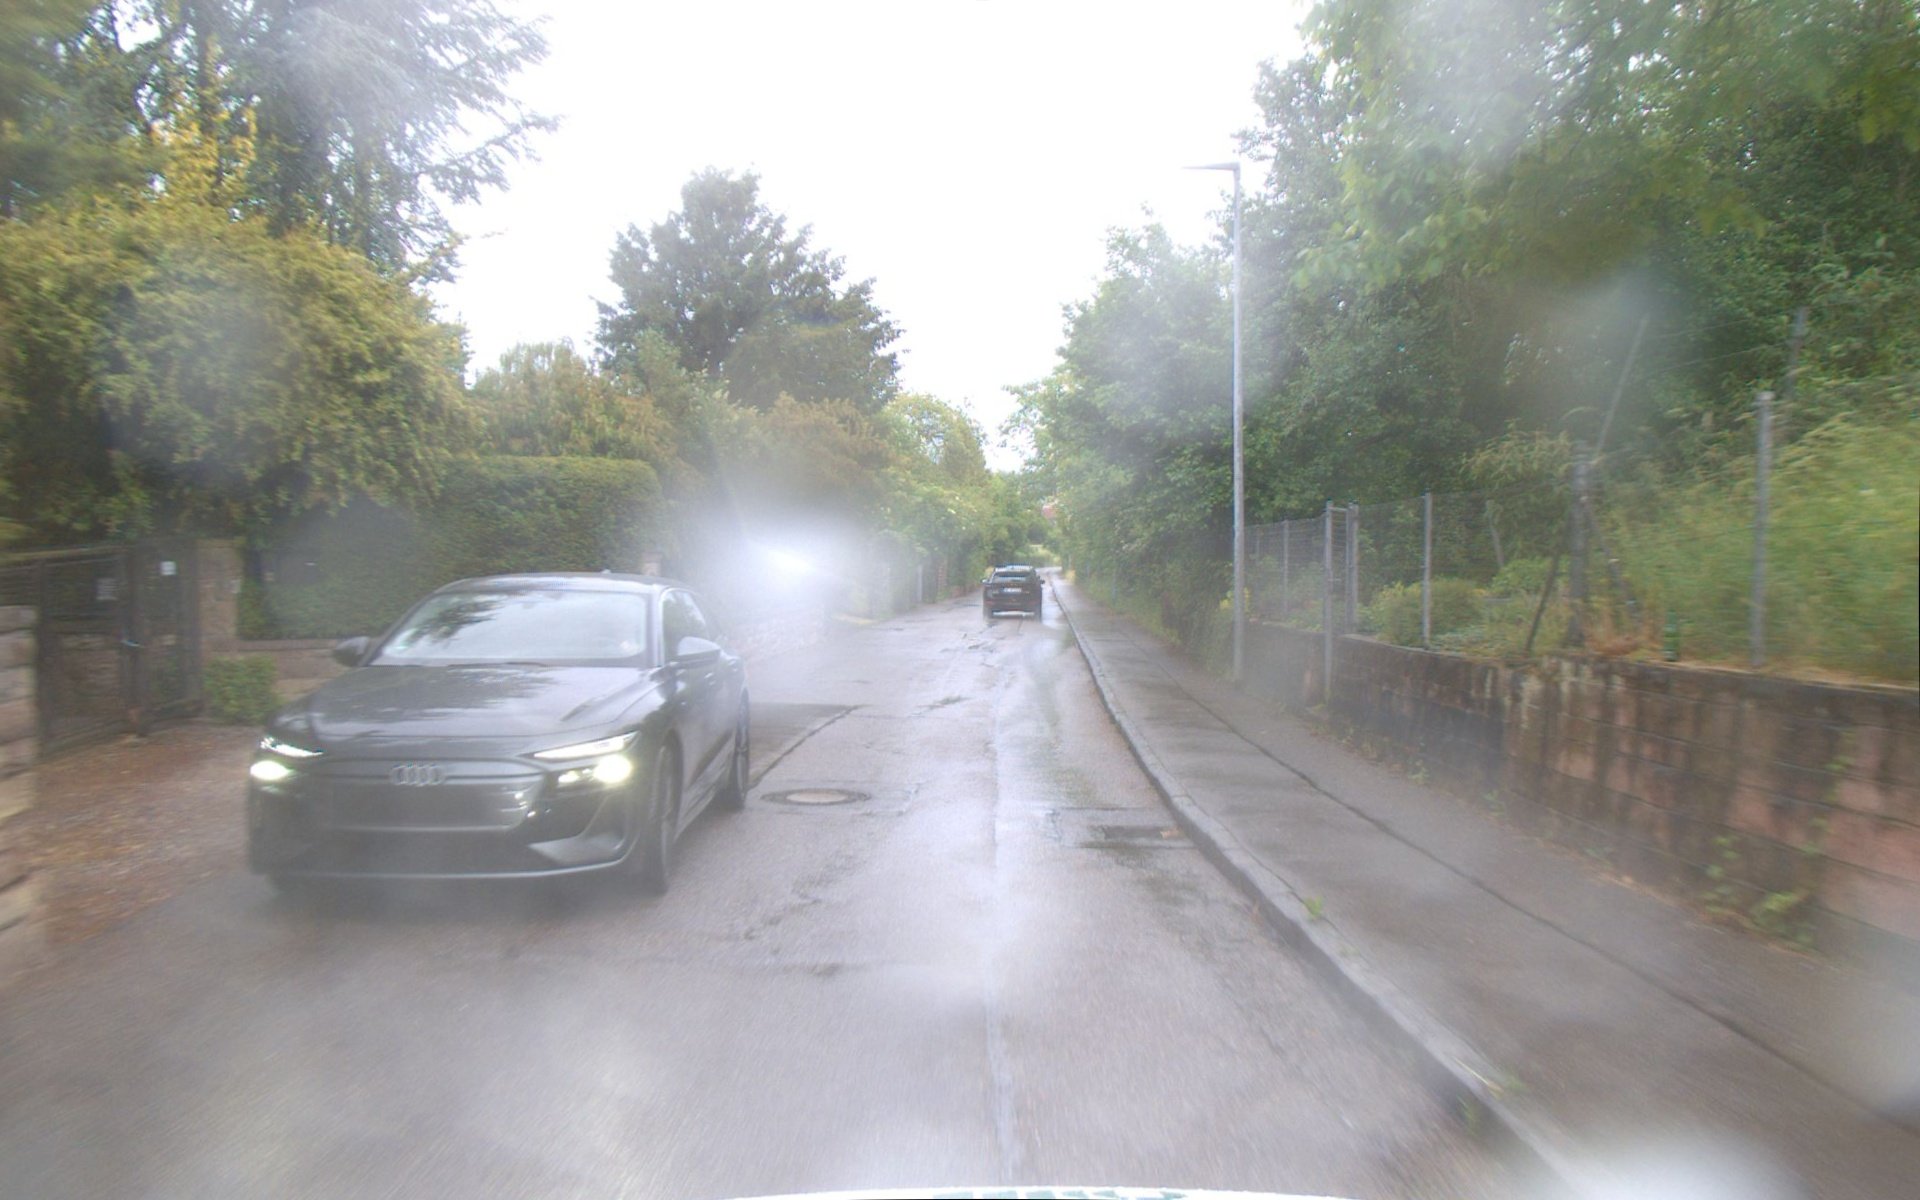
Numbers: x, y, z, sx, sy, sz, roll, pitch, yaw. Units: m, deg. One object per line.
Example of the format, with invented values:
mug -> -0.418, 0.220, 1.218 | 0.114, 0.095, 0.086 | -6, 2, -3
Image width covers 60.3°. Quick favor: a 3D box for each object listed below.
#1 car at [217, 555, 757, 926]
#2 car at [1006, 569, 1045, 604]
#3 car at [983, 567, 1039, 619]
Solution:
car -> -2.256, 0.582, 9.176 | 1.851, 1.550, 4.420 | 1, 0, -2
car -> 2.822, -0.571, 70.766 | 1.600, 1.439, 3.546 | 1, 0, 4
car -> 1.555, -0.205, 49.482 | 1.600, 1.475, 3.546 | 1, 0, 3
